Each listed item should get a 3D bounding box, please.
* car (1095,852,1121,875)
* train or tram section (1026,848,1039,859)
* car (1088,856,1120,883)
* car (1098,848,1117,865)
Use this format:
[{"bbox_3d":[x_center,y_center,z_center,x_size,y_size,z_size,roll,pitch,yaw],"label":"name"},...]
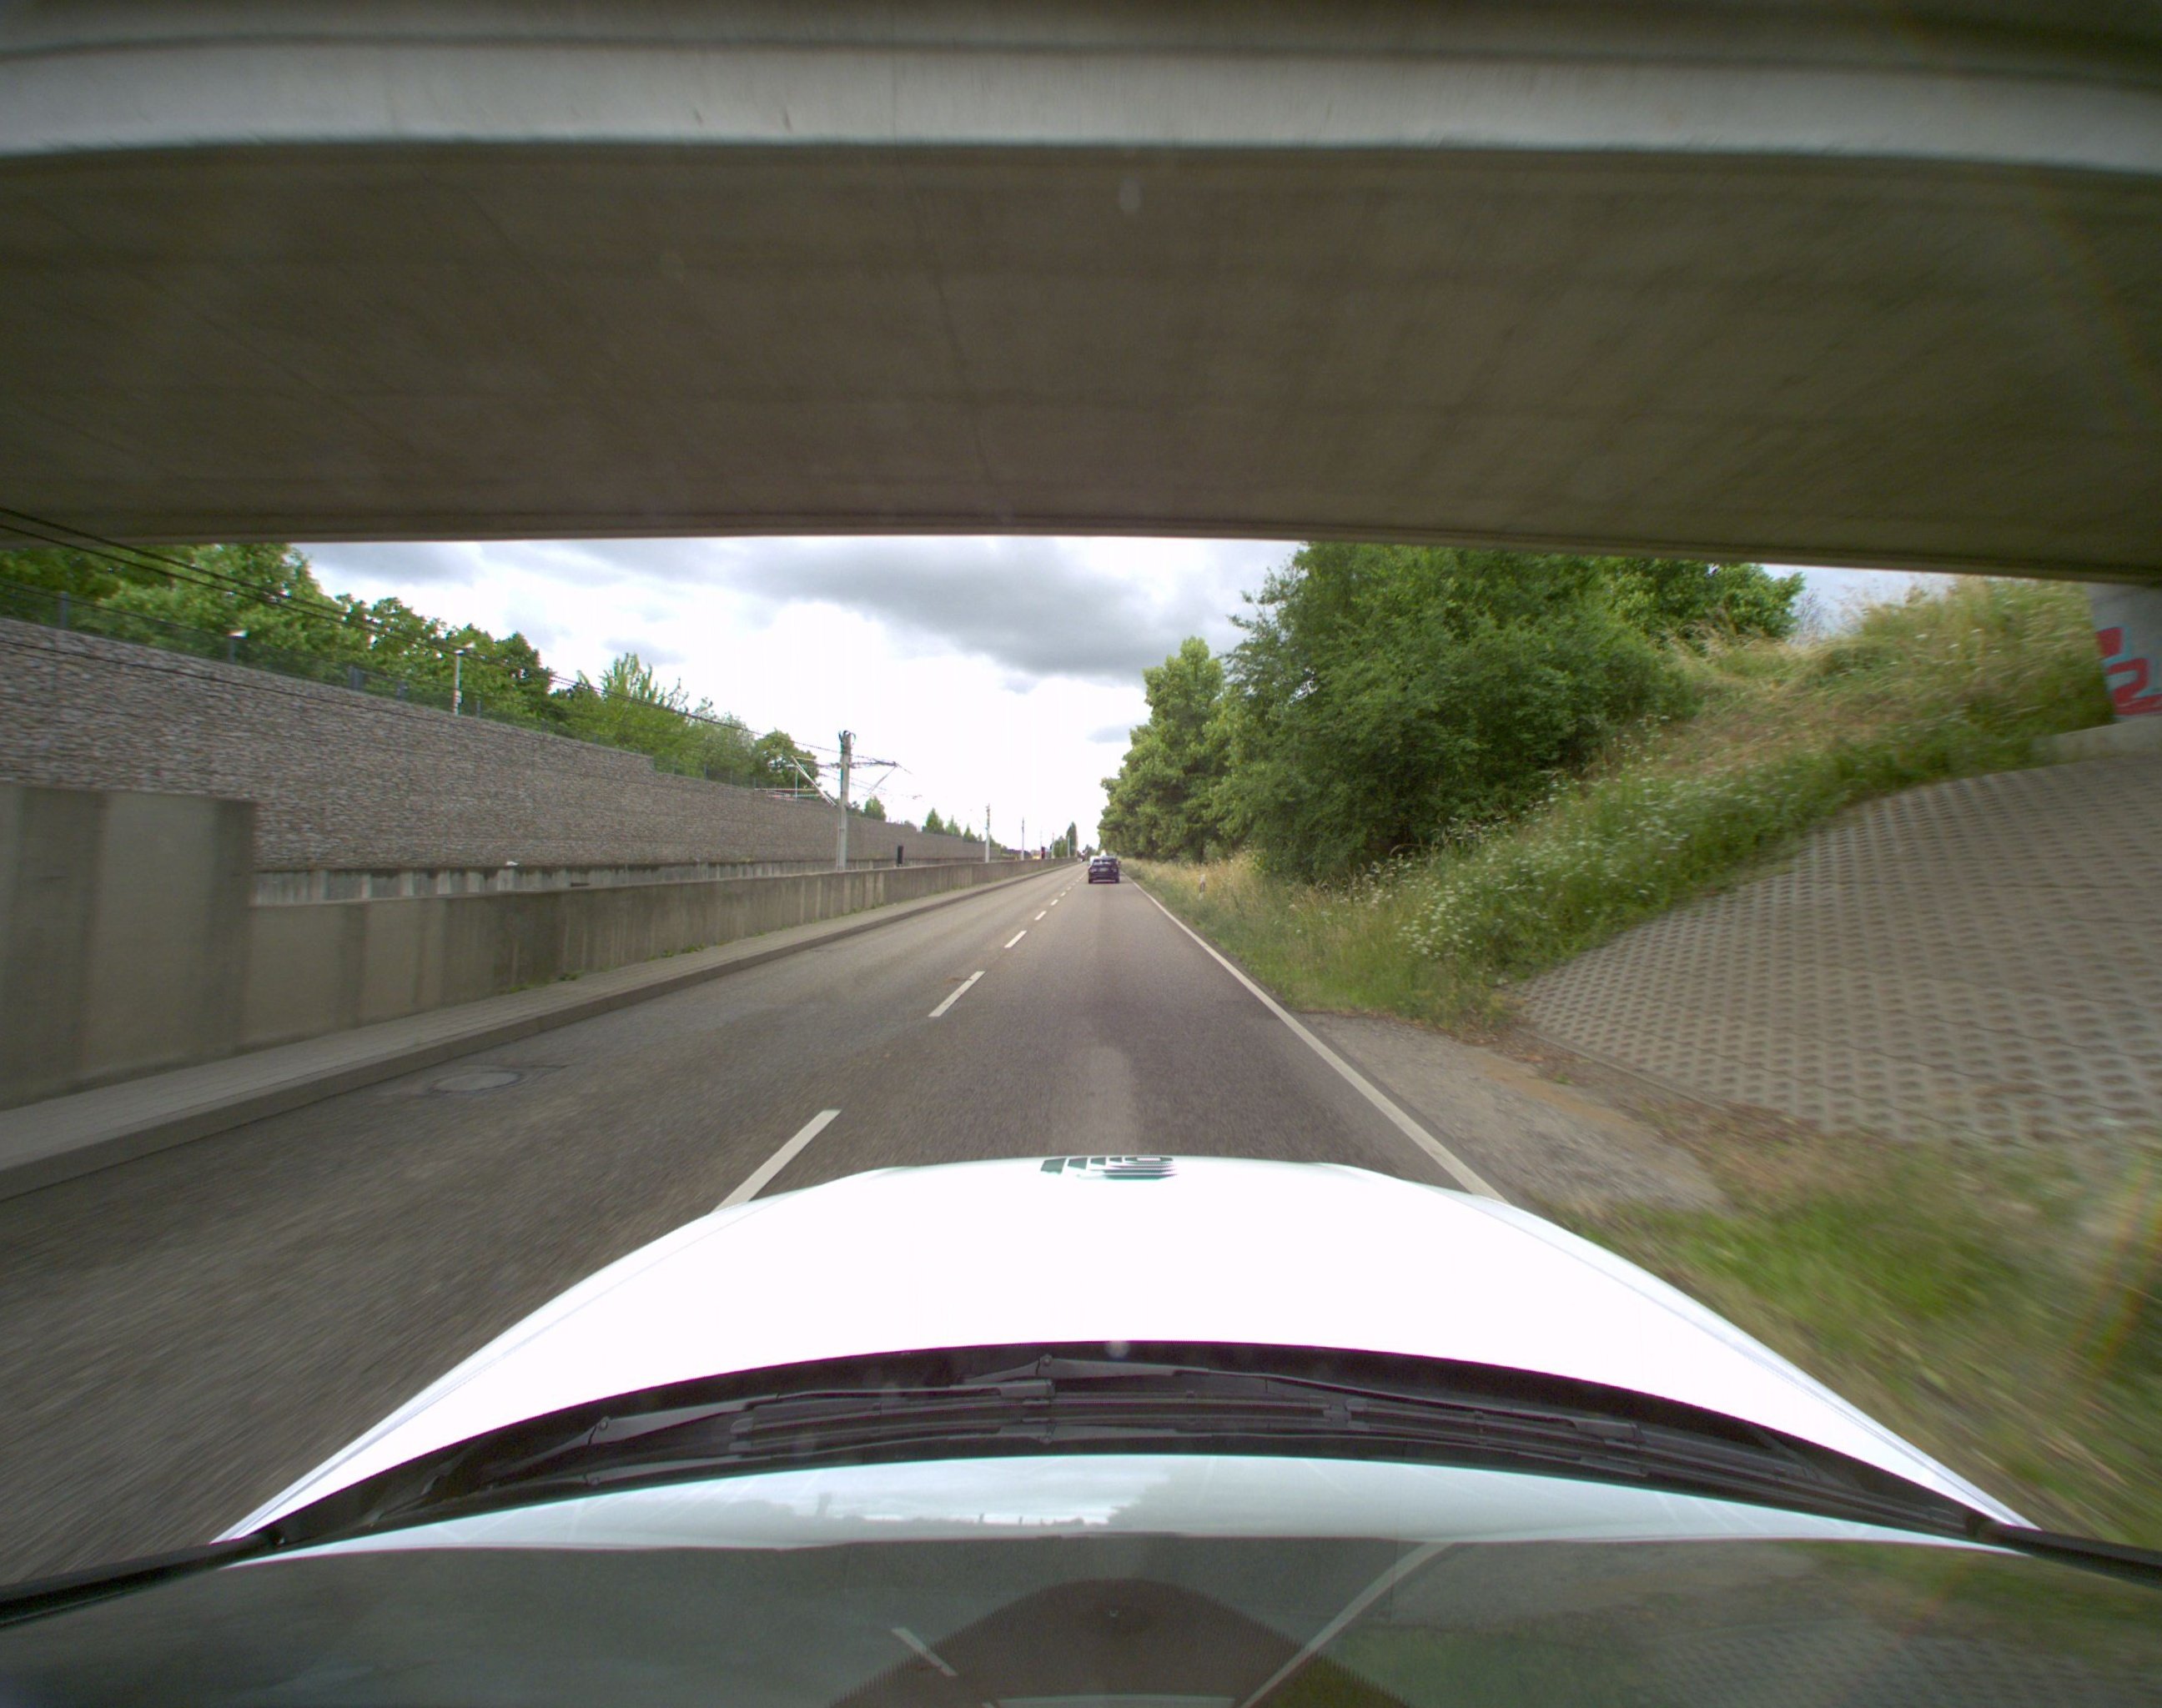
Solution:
[{"bbox_3d":[2.173,0.757,65.189,1.986,1.753,4.001,0,0,2],"label":"car"},{"bbox_3d":[-15.042,-0.105,250.180,2.809,3.117,18.867,0,-1,-7],"label":"train or tram section"},{"bbox_3d":[1.322,0.836,46.694,1.775,1.468,4.001,0,0,2],"label":"car"},{"bbox_3d":[2.794,0.309,87.000,1.986,1.740,4.001,-1,-1,2],"label":"car"}]
